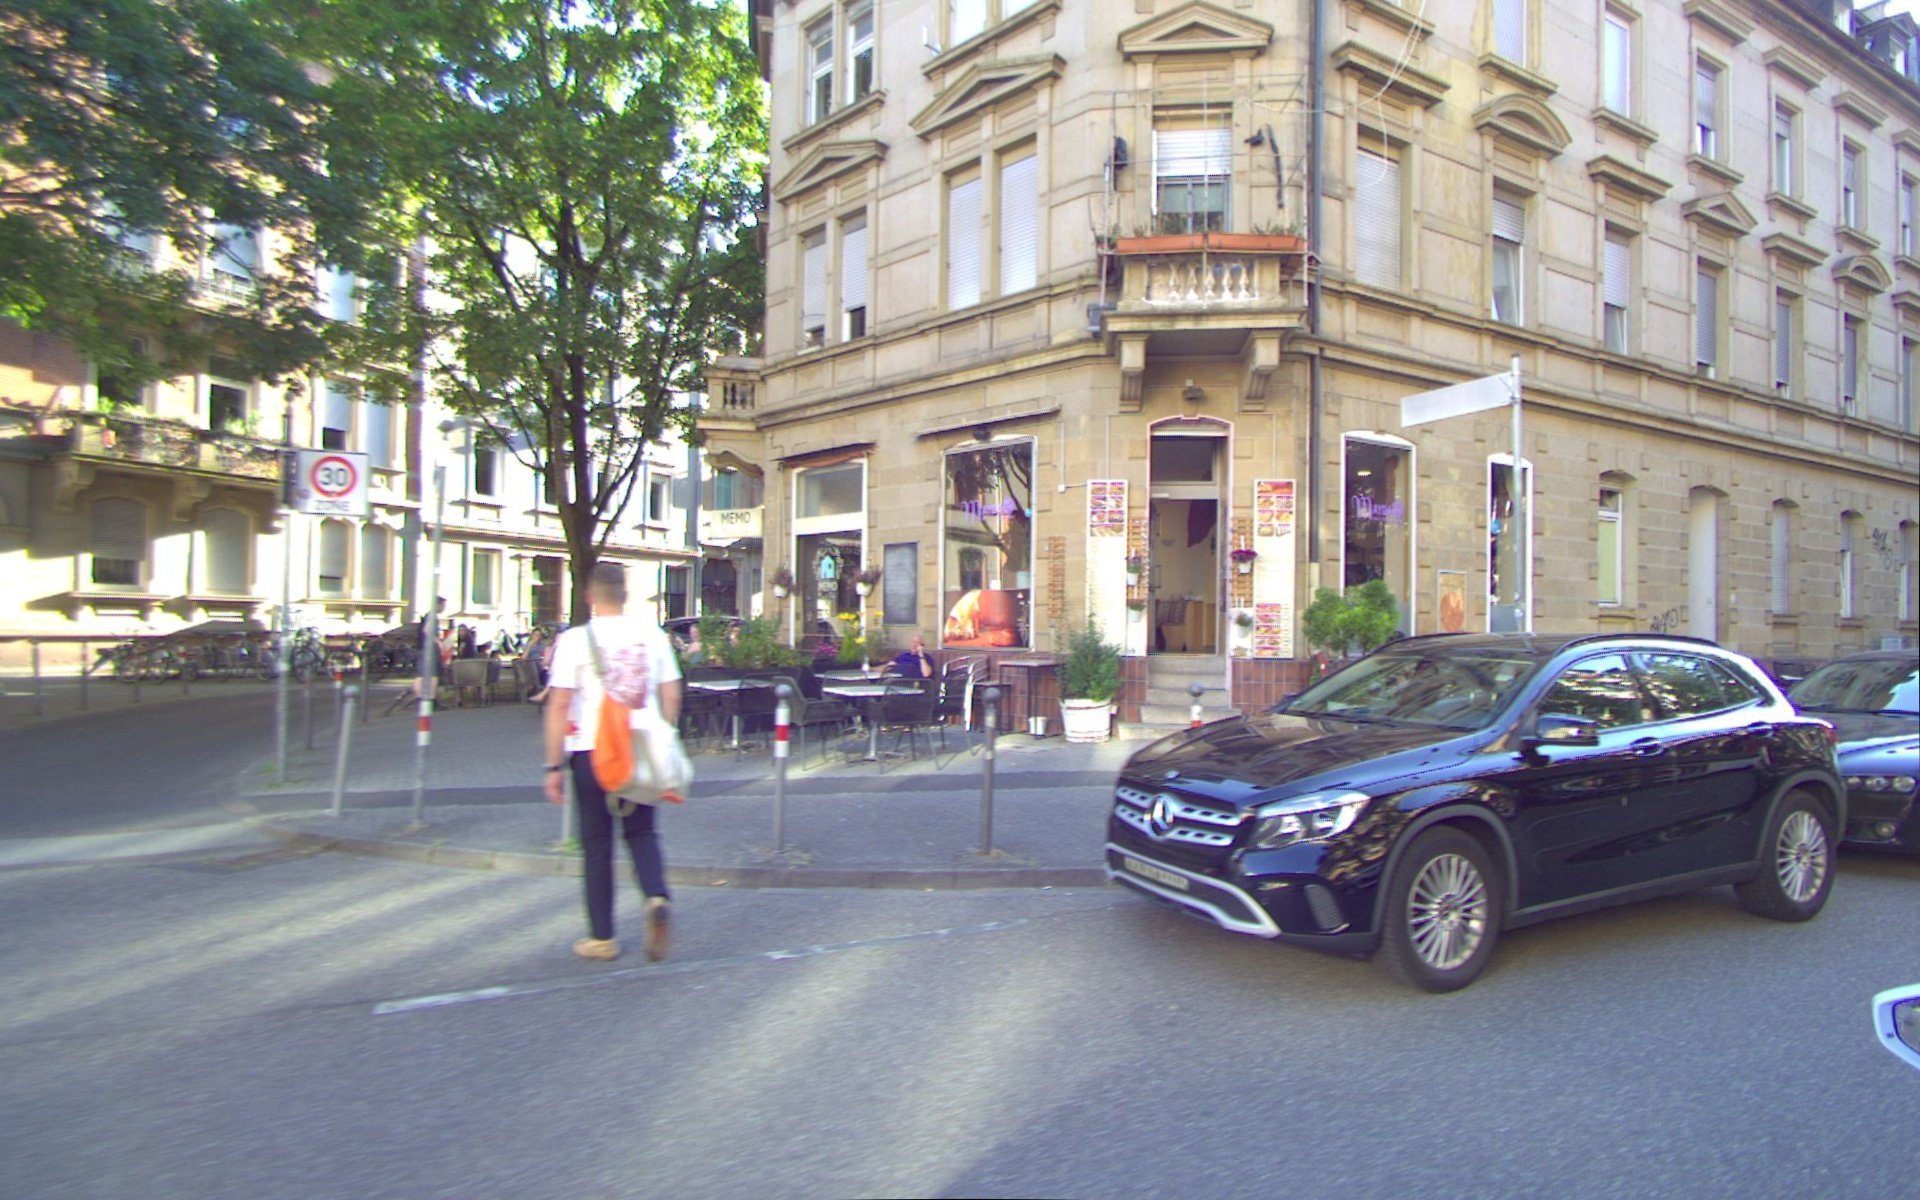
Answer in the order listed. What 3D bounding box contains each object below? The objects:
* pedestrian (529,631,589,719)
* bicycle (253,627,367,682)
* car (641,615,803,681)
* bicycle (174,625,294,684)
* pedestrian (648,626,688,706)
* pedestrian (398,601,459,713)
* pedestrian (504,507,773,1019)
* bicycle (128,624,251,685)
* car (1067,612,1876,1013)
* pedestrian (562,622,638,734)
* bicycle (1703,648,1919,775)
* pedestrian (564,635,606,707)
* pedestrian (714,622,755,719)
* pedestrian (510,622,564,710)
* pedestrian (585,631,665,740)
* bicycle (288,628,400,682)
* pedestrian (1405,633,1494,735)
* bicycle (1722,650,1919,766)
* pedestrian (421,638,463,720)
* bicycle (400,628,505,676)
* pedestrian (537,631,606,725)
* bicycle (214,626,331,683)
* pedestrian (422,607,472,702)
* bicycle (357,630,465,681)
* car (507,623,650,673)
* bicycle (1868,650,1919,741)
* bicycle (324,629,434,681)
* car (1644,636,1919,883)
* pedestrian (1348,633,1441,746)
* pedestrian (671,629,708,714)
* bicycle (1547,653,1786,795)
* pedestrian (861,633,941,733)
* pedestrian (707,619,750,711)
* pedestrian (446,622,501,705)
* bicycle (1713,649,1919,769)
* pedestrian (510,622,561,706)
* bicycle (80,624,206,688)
[{"bbox_3d":[-6.014,1.105,15.063,0.741,1.265,0.701,0,-1,-31],"label":"pedestrian"},{"bbox_3d":[-15.070,1.239,23.257,3.078,1.196,0.751,0,-1,26],"label":"bicycle"},{"bbox_3d":[-6.001,1.210,25.724,3.763,1.582,1.802,1,-1,-5],"label":"car"},{"bbox_3d":[-15.783,1.151,21.804,3.078,1.196,0.751,0,-1,26],"label":"bicycle"},{"bbox_3d":[-4.728,1.051,16.257,0.504,1.265,0.478,0,-1,-31],"label":"pedestrian"},{"bbox_3d":[-8.656,0.922,16.380,0.755,1.793,0.570,0,-2,-17],"label":"pedestrian"},{"bbox_3d":[-1.462,0.628,4.485,0.834,1.923,1.107,2,-2,-35],"label":"pedestrian"},{"bbox_3d":[-16.173,1.112,21.051,3.078,1.196,0.751,0,-1,26],"label":"bicycle"},{"bbox_3d":[2.785,0.878,5.452,4.081,1.507,1.754,1,-2,-24],"label":"car"},{"bbox_3d":[-4.794,1.007,13.364,0.722,1.429,0.748,2,-2,-41],"label":"pedestrian"},{"bbox_3d":[9.121,1.133,10.728,0.521,1.143,1.861,2,0,-26],"label":"bicycle"},{"bbox_3d":[-6.617,1.245,17.738,0.667,1.231,0.665,0,-2,-19],"label":"pedestrian"},{"bbox_3d":[-3.279,1.010,14.610,0.430,1.385,0.477,1,-1,-37],"label":"pedestrian"},{"bbox_3d":[-7.170,1.108,17.058,0.754,1.460,0.666,0,-2,-17],"label":"pedestrian"},{"bbox_3d":[-4.232,1.054,12.681,0.736,1.306,0.737,2,-2,-39],"label":"pedestrian"},{"bbox_3d":[-14.727,1.284,23.991,3.078,1.196,0.751,0,-1,26],"label":"bicycle"},{"bbox_3d":[6.153,1.031,12.628,0.748,1.230,0.722,1,-2,-31],"label":"pedestrian"},{"bbox_3d":[10.067,1.202,11.689,0.521,1.143,1.861,2,0,-26],"label":"bicycle"},{"bbox_3d":[-8.746,1.320,16.972,0.563,1.338,0.503,0,-1,-19],"label":"pedestrian"},{"bbox_3d":[-13.403,1.354,26.493,3.078,1.196,0.751,0,-1,26],"label":"bicycle"},{"bbox_3d":[-5.540,1.081,14.296,0.741,1.265,1.016,0,-1,-32],"label":"pedestrian"},{"bbox_3d":[-15.426,1.193,22.506,3.078,1.196,0.751,0,-1,26],"label":"bicycle"},{"bbox_3d":[-9.394,0.988,18.390,0.758,1.691,0.663,1,-2,-31],"label":"pedestrian"},{"bbox_3d":[-13.948,1.379,25.487,3.078,1.196,0.751,0,-1,26],"label":"bicycle"},{"bbox_3d":[-11.440,1.405,30.351,1.893,1.394,3.748,0,-2,27],"label":"car"},{"bbox_3d":[12.781,1.255,12.698,0.522,1.143,1.859,2,0,-28],"label":"bicycle"},{"bbox_3d":[-14.311,1.331,24.724,3.078,1.196,0.751,0,-1,26],"label":"bicycle"},{"bbox_3d":[7.505,1.030,7.604,4.487,1.470,1.754,1,-2,-24],"label":"car"},{"bbox_3d":[5.147,1.034,11.914,0.748,1.275,0.722,1,-2,-31],"label":"pedestrian"},{"bbox_3d":[-4.140,1.083,15.348,0.429,1.265,0.478,0,-1,-31],"label":"pedestrian"},{"bbox_3d":[6.748,1.132,9.718,0.521,1.143,1.861,2,0,-26],"label":"bicycle"},{"bbox_3d":[-0.763,1.055,13.064,0.717,1.230,0.753,-1,-2,42],"label":"pedestrian"},{"bbox_3d":[-3.736,1.035,16.210,0.478,1.450,0.563,1,-1,-40],"label":"pedestrian"},{"bbox_3d":[-8.615,1.122,17.822,0.754,1.430,0.666,0,-2,-15],"label":"pedestrian"},{"bbox_3d":[9.606,1.167,11.232,0.521,1.143,1.861,2,0,-26],"label":"bicycle"},{"bbox_3d":[-7.591,1.139,17.996,0.754,1.460,0.666,0,-2,-17],"label":"pedestrian"},{"bbox_3d":[-16.527,1.100,20.283,3.078,1.196,0.751,0,-1,26],"label":"bicycle"}]
